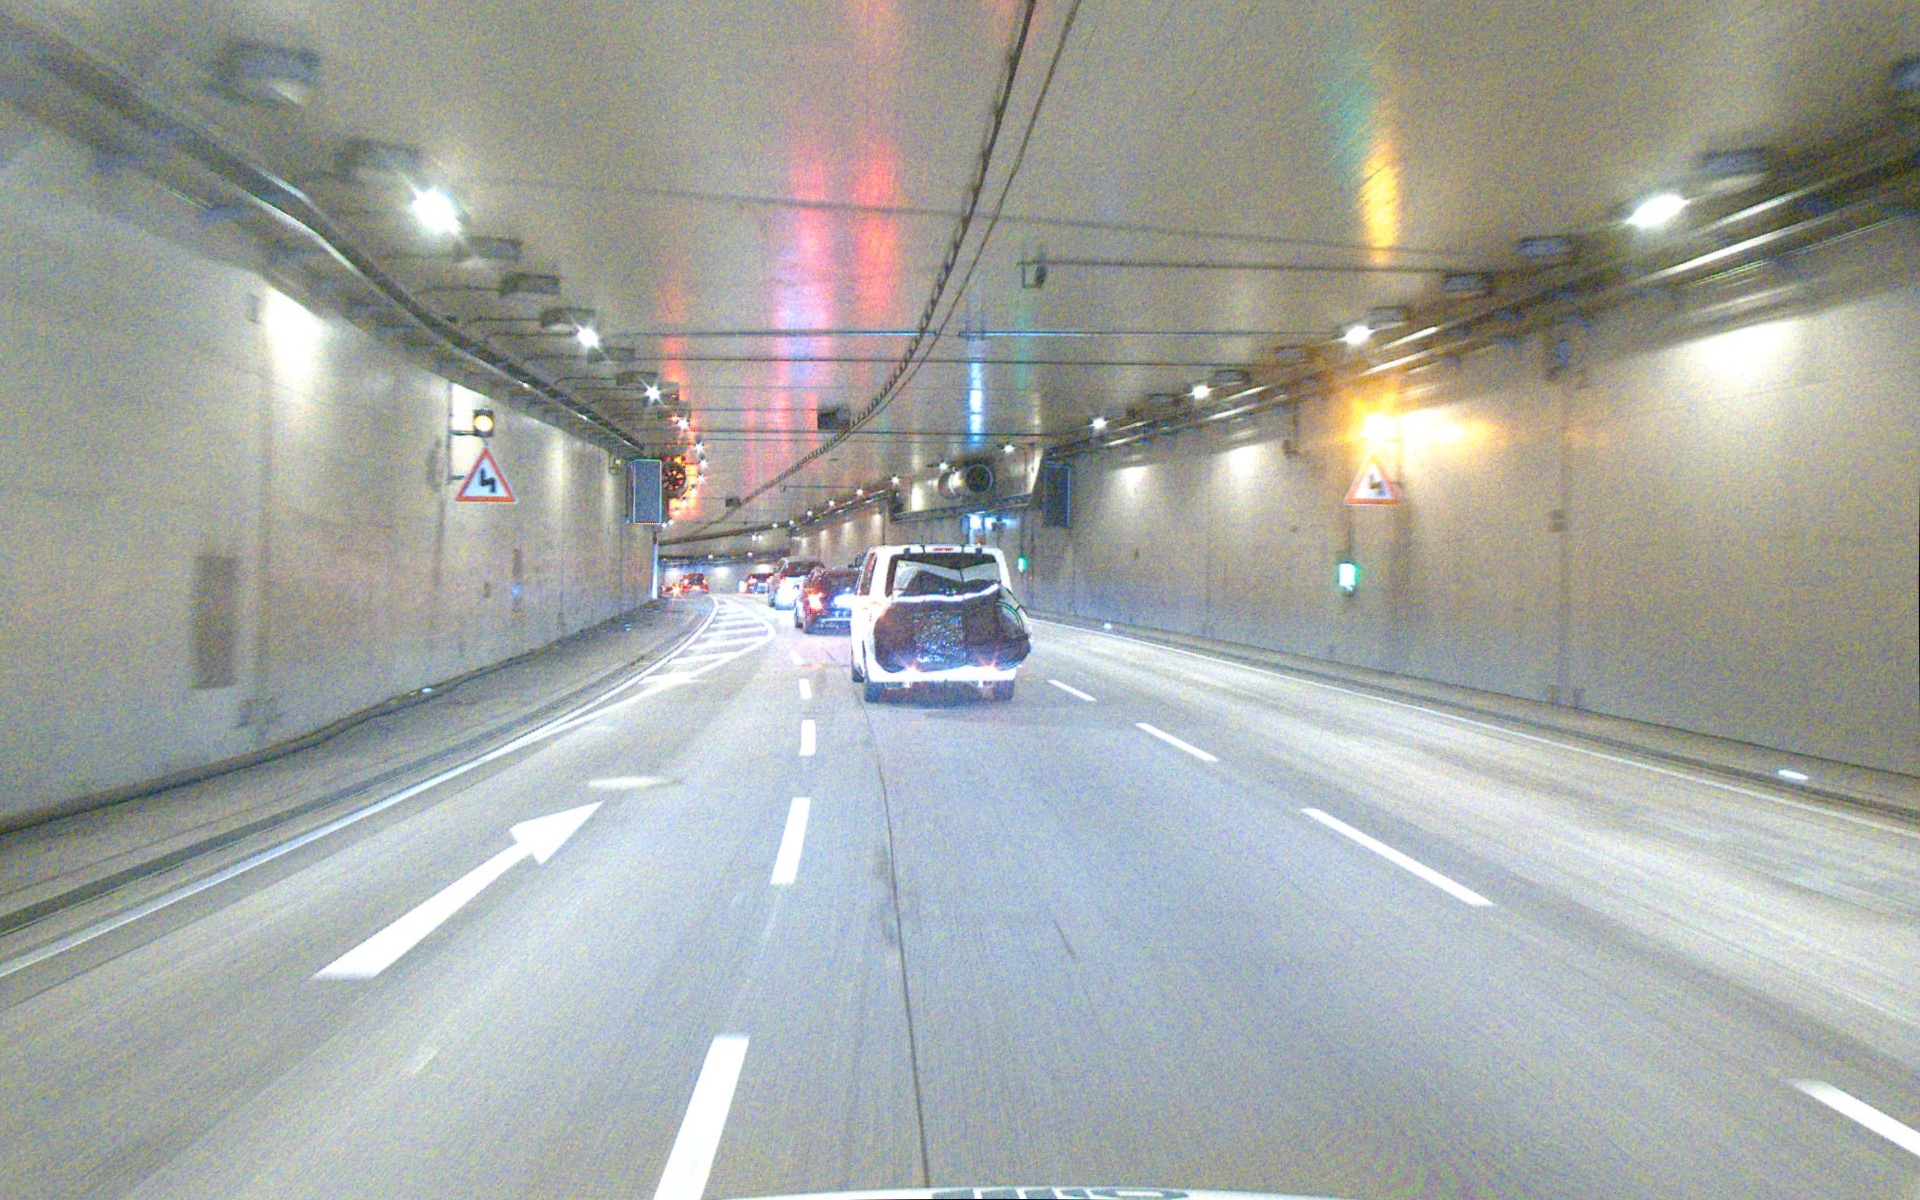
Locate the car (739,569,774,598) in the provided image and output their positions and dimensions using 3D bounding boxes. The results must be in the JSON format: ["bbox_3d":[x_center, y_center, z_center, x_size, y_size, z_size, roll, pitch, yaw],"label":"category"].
[{"bbox_3d":[-12.863,-1.015,104.366,1.791,1.659,3.831,2,-1,-13],"label":"car"}]

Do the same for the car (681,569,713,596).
[{"bbox_3d":[-17.116,-1.130,107.441,1.790,1.659,3.831,2,-1,-12],"label":"car"}]

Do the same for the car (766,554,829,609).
[{"bbox_3d":[-4.983,-0.565,50.428,1.574,1.621,3.347,0,1,-11],"label":"car"}]

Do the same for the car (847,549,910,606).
[{"bbox_3d":[-2.891,-0.761,58.098,1.837,1.792,3.993,2,-1,-8],"label":"car"}]

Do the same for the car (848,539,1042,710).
[{"bbox_3d":[-0.334,0.205,20.910,1.955,1.879,5.295,0,1,-6],"label":"car"}]

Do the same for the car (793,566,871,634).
[{"bbox_3d":[-2.883,-0.034,36.690,1.572,1.419,3.272,1,1,-7],"label":"car"}]
